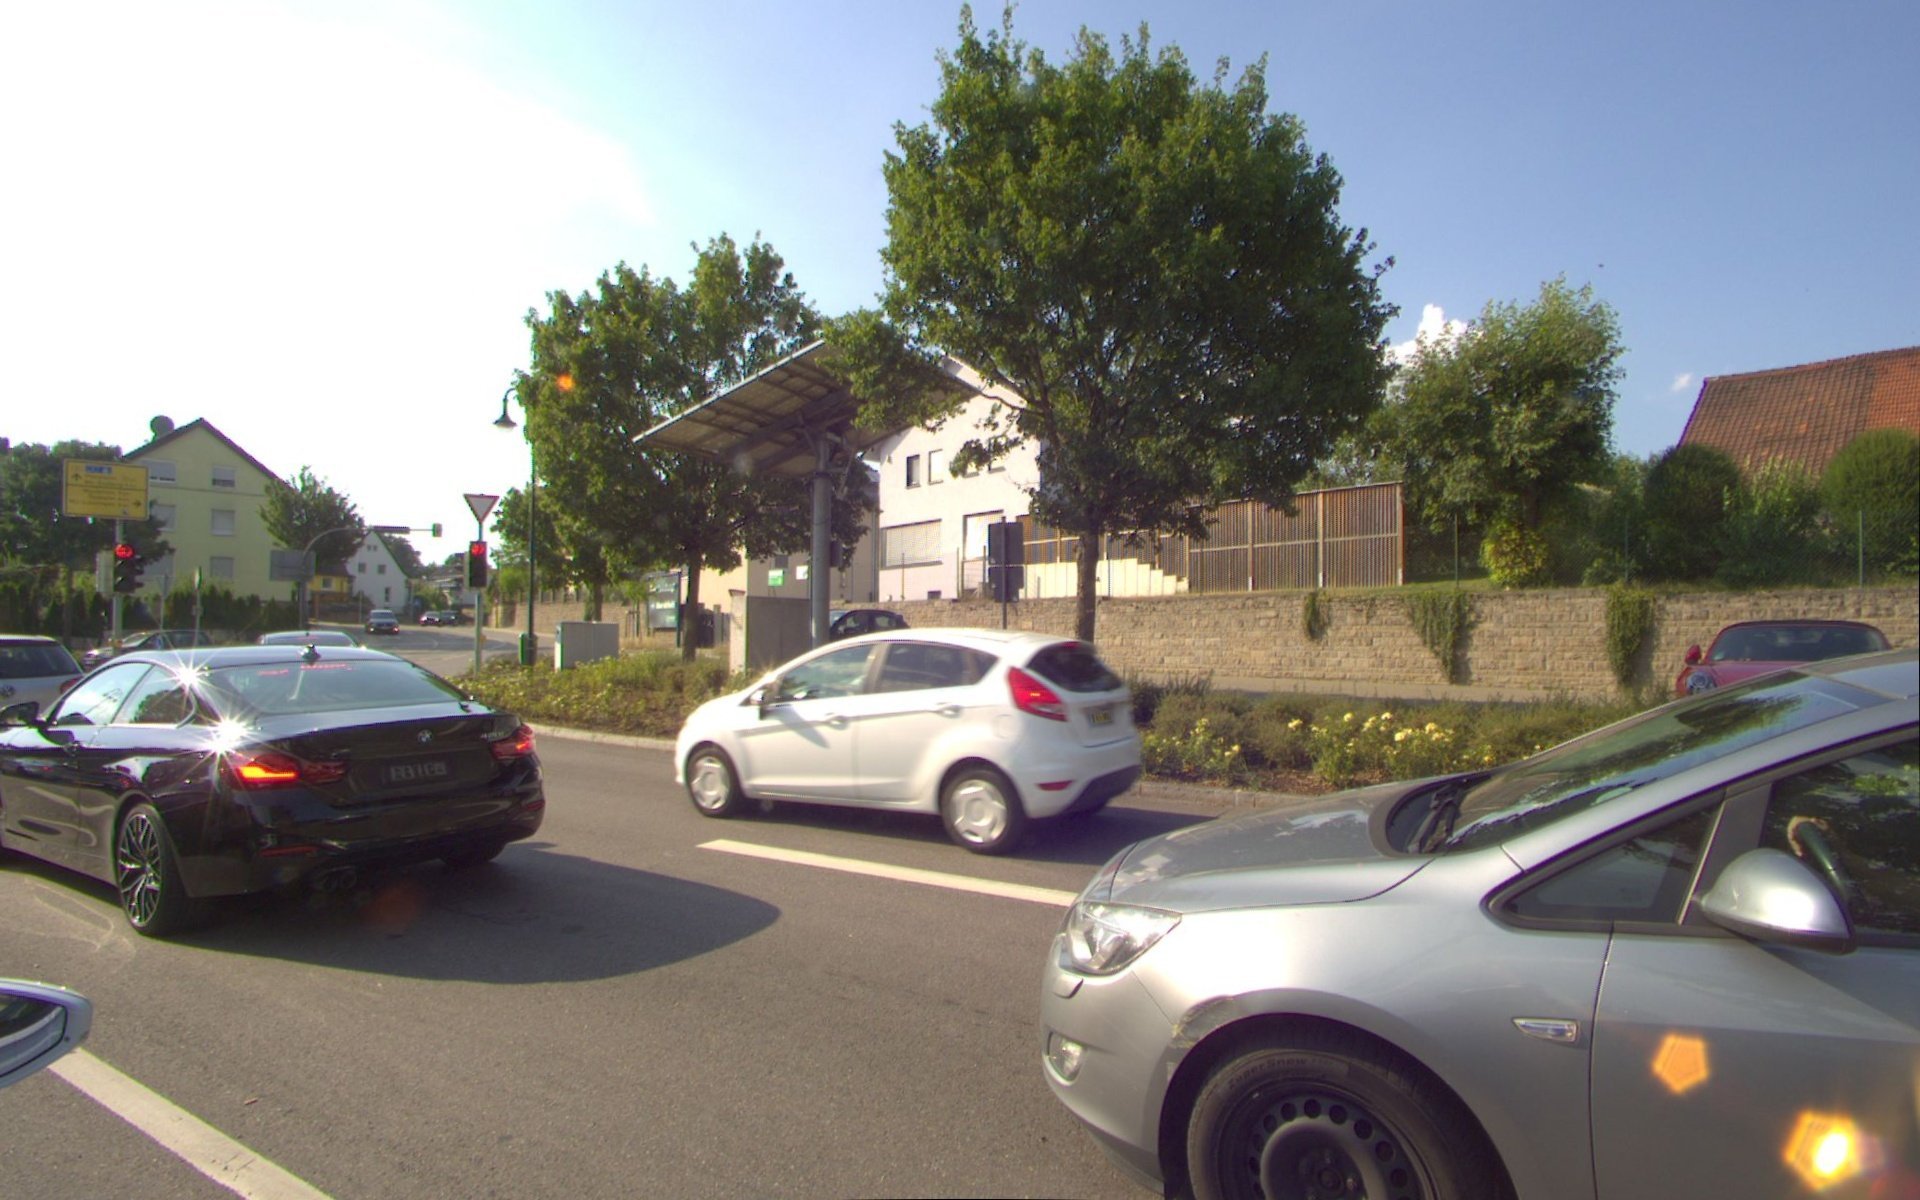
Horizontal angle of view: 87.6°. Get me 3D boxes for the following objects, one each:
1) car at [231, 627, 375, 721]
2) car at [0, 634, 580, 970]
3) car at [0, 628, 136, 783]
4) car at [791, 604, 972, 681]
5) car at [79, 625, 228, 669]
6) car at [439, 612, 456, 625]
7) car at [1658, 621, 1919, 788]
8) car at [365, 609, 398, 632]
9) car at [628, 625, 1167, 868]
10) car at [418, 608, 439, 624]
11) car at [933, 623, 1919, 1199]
[{"bbox_3d":[-11.783,1.221,17.826,1.668,1.454,4.552,1,-2,-39],"label":"car"},{"bbox_3d":[-4.462,0.926,6.216,4.287,1.406,1.812,-1,-2,34],"label":"car"},{"bbox_3d":[-10.778,1.034,10.777,4.287,1.465,1.812,-1,-2,34],"label":"car"},{"bbox_3d":[-1.736,0.960,23.116,1.835,1.628,3.964,-1,-2,45],"label":"car"},{"bbox_3d":[-30.140,1.731,37.589,1.759,1.526,4.065,0,-2,17],"label":"car"},{"bbox_3d":[-66.618,2.428,130.096,1.753,1.600,3.987,1,-2,-24],"label":"car"},{"bbox_3d":[8.244,0.874,9.678,1.835,1.288,3.964,-1,-2,45],"label":"car"},{"bbox_3d":[-36.648,1.294,63.409,1.692,1.261,3.975,1,2,-31],"label":"car"},{"bbox_3d":[-0.586,0.940,7.884,4.011,1.469,1.725,-1,-2,32],"label":"car"},{"bbox_3d":[-57.869,1.756,109.090,1.754,1.600,3.985,1,-2,-25],"label":"car"},{"bbox_3d":[2.123,0.787,2.211,4.107,1.460,1.741,-1,-2,32],"label":"car"}]
